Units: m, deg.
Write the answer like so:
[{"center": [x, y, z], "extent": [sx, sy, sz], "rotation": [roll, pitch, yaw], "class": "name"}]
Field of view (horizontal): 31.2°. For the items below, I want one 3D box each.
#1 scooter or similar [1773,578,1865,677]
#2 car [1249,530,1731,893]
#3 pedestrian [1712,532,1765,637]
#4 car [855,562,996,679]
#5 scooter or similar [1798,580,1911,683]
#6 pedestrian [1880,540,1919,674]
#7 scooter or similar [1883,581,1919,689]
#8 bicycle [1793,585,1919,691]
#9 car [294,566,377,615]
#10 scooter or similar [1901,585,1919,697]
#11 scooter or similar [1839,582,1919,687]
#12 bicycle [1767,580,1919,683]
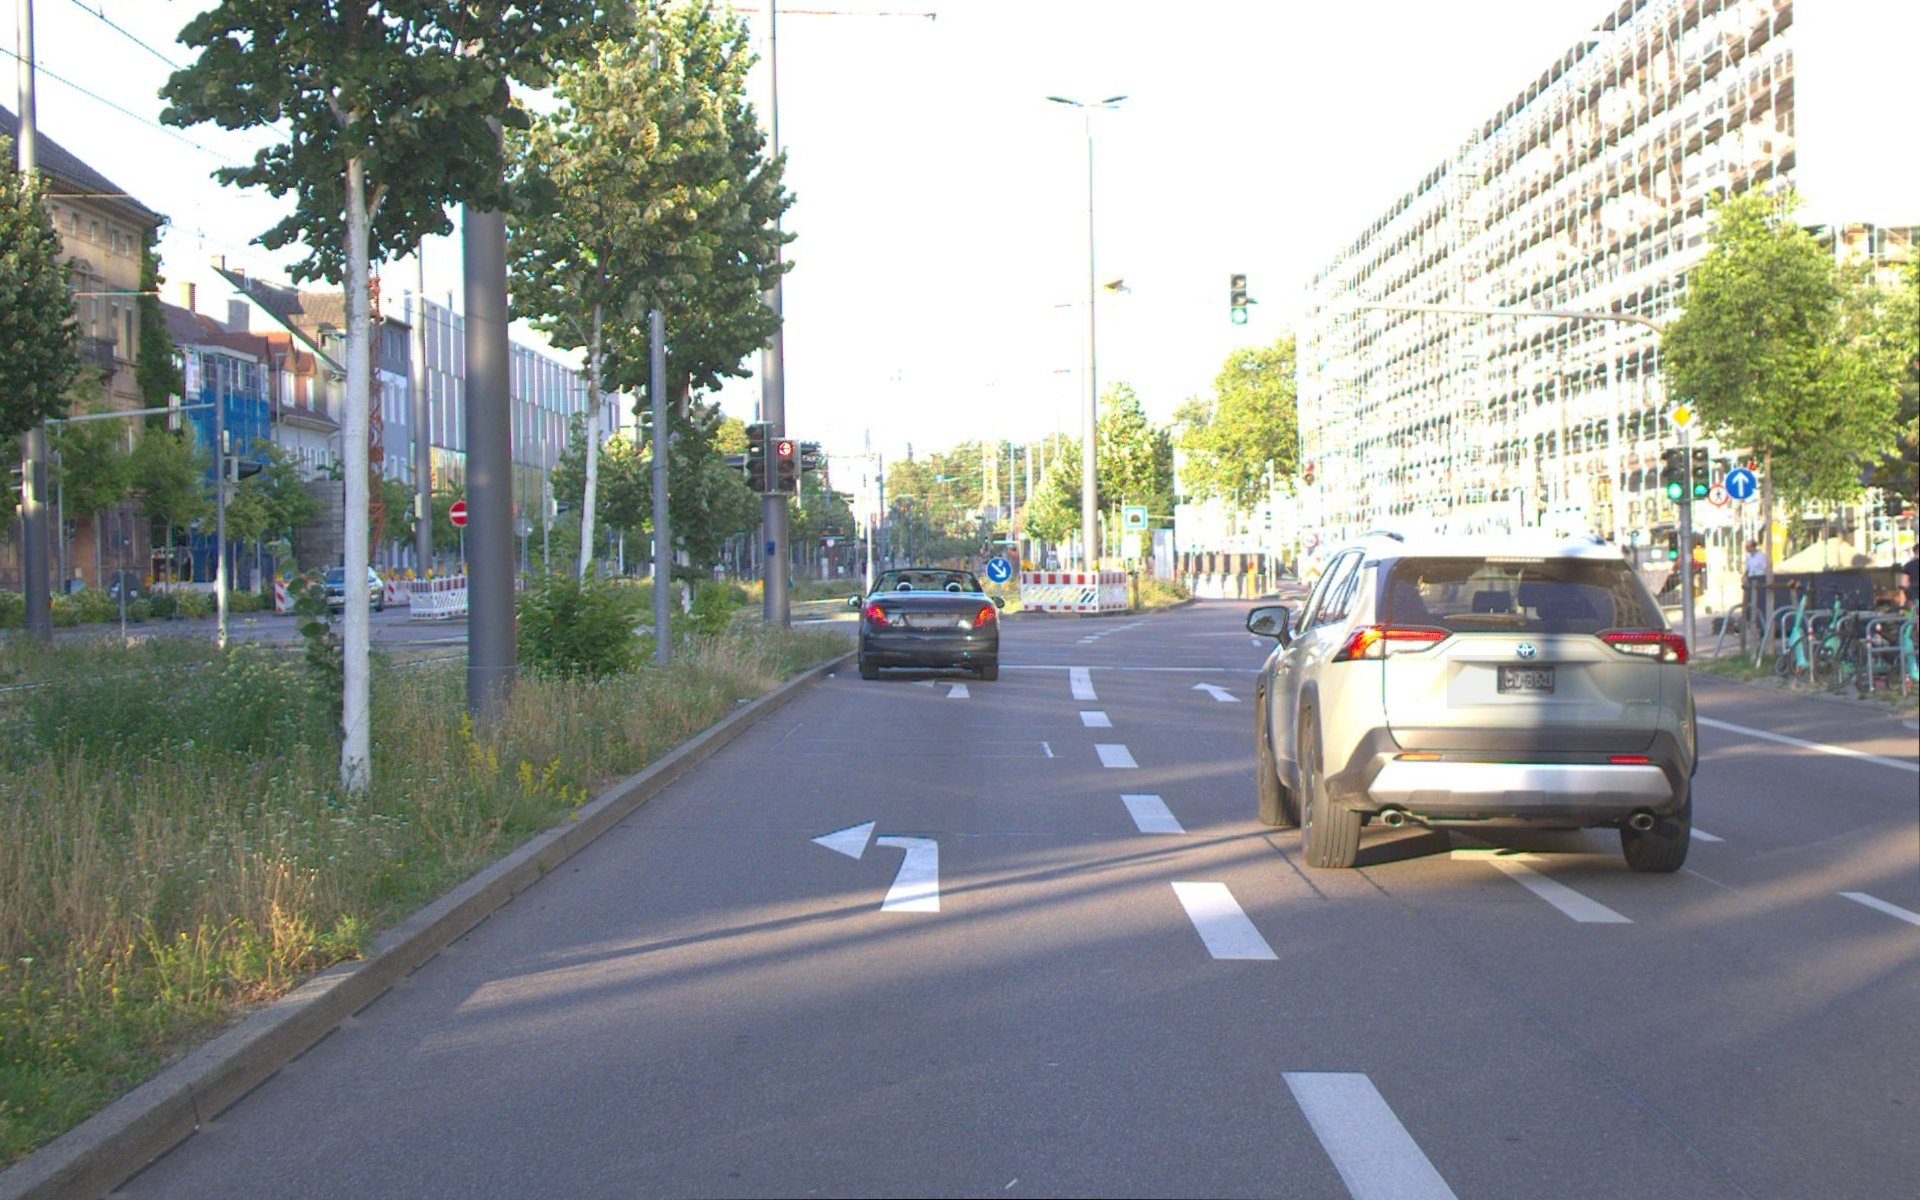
[{"center": [11.056, 0.352, 44.272], "extent": [1.062, 1.219, 0.549], "rotation": [-3, 0, 10], "class": "scooter or similar"}, {"center": [2.630, 0.478, 18.042], "extent": [1.834, 1.667, 4.283], "rotation": [0, 1, 0], "class": "car"}, {"center": [13.851, -0.281, 61.179], "extent": [0.768, 1.841, 0.678], "rotation": [-1, 1, 0], "class": "pedestrian"}, {"center": [-0.402, 0.223, 43.005], "extent": [1.674, 1.347, 4.000], "rotation": [1, 1, 0], "class": "car"}, {"center": [11.084, 0.386, 42.612], "extent": [1.209, 1.197, 0.480], "rotation": [-3, 1, -4], "class": "scooter or similar"}, {"center": [12.386, 0.084, 44.578], "extent": [0.653, 1.696, 0.689], "rotation": [-3, 1, 0], "class": "pedestrian"}, {"center": [11.190, 0.383, 39.370], "extent": [1.129, 1.209, 0.531], "rotation": [-3, -1, 16], "class": "scooter or similar"}, {"center": [11.041, 0.441, 41.328], "extent": [1.846, 1.178, 0.608], "rotation": [-3, 1, 0], "class": "bicycle"}, {"center": [-21.703, -0.334, 119.615], "extent": [1.993, 1.575, 4.124], "rotation": [-2, 1, 1], "class": "car"}, {"center": [11.038, 0.424, 37.632], "extent": [1.294, 1.214, 0.535], "rotation": [-3, 0, 24], "class": "scooter or similar"}, {"center": [10.936, 0.398, 40.163], "extent": [1.156, 1.187, 0.510], "rotation": [-3, -1, 2], "class": "scooter or similar"}, {"center": [11.119, 0.387, 43.148], "extent": [1.793, 1.189, 0.568], "rotation": [-3, 1, -4], "class": "bicycle"}]
